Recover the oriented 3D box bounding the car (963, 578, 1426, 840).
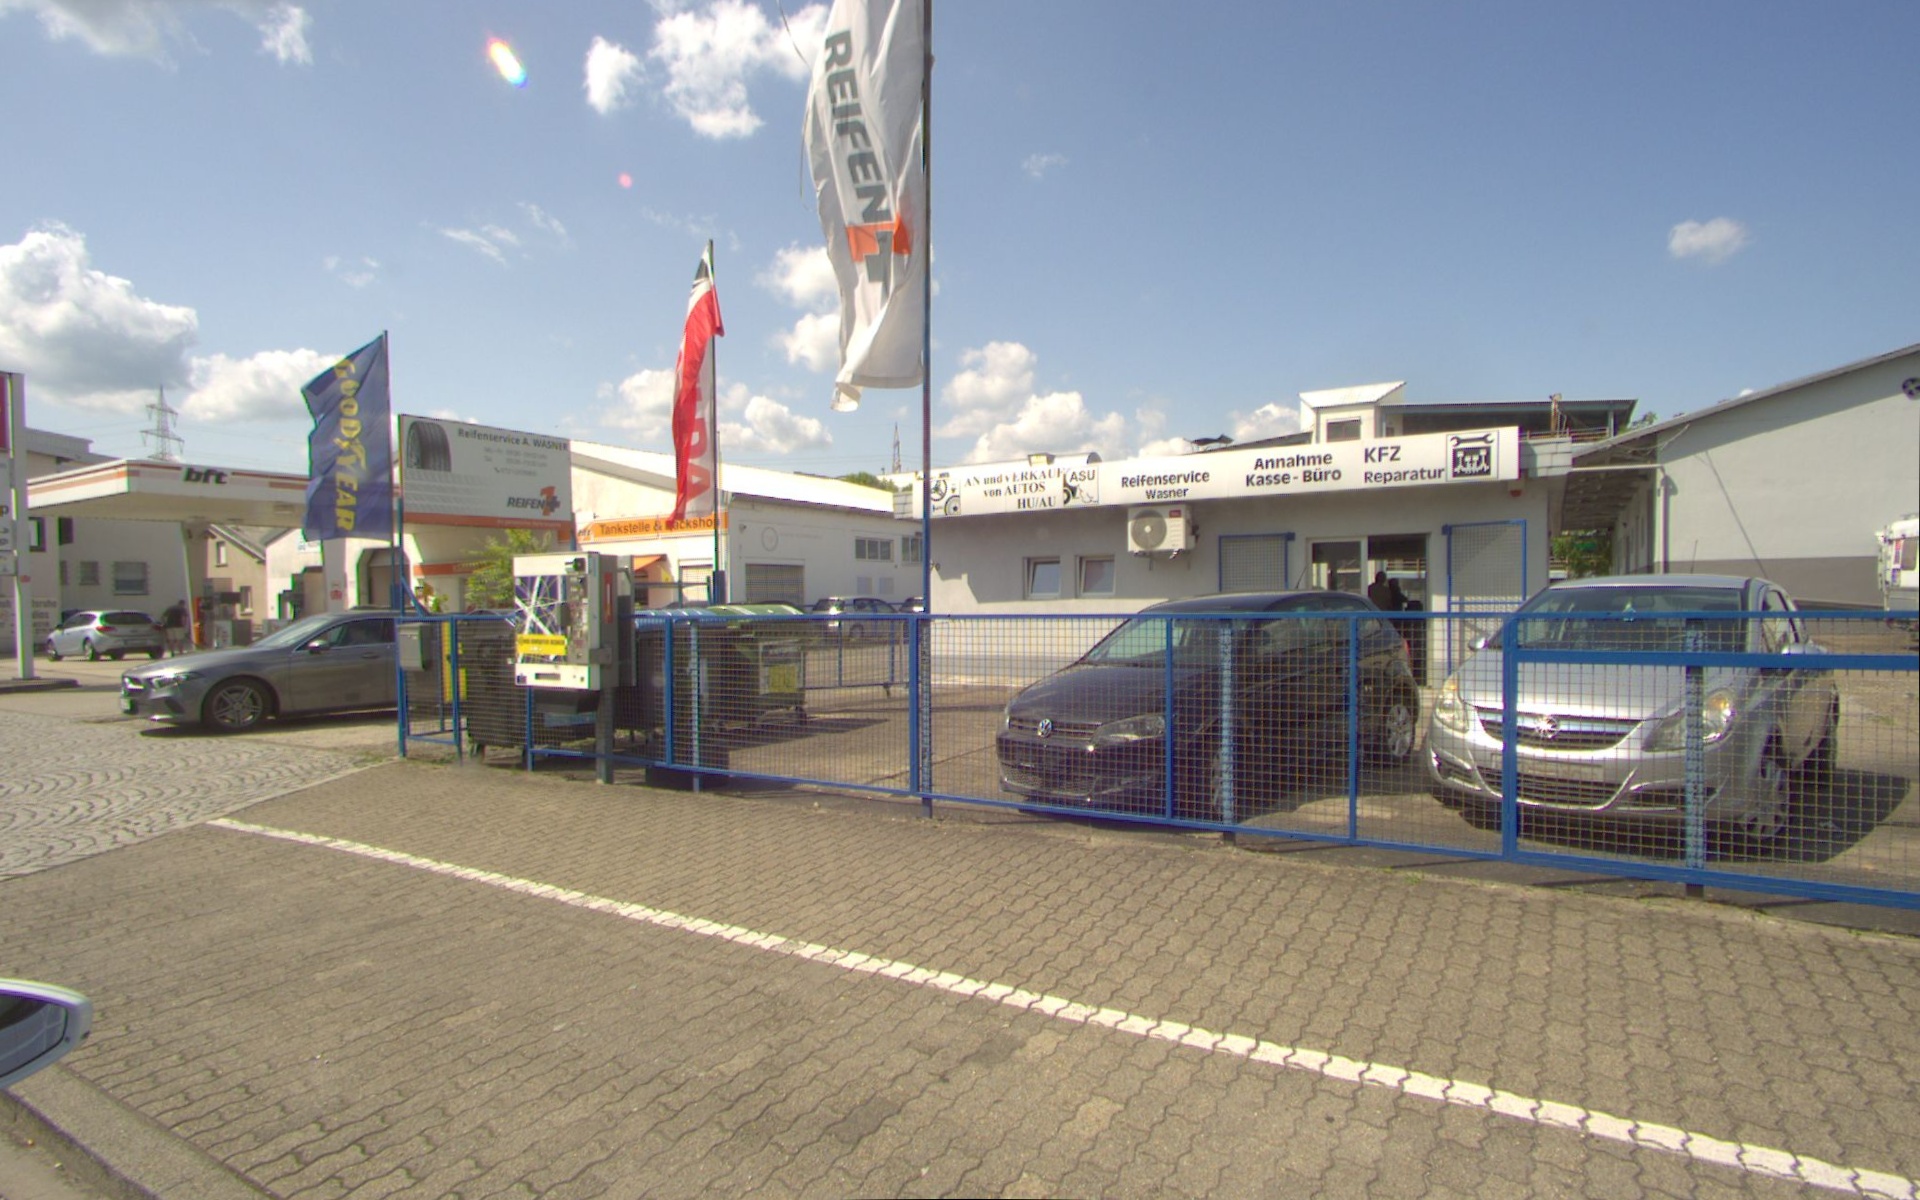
[{"bbox_3d":[1.903,0.604,7.485,3.655,1.472,1.625,-1,1,-43],"label":"car"}]

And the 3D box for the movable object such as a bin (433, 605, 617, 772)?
[{"bbox_3d":[-4.157,0.788,9.612,1.225,1.455,1.106,0,1,31],"label":"movable object such as a bin"}]

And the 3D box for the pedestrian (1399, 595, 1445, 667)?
[{"bbox_3d":[8.049,0.534,17.443,0.654,1.225,0.563,0,1,34],"label":"pedestrian"}]

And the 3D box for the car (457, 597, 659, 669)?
[{"bbox_3d":[-9.162,0.689,23.168,1.564,1.482,4.187,0,0,33],"label":"car"}]

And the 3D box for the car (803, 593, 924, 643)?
[{"bbox_3d":[-3.013,0.526,32.055,1.564,1.482,4.187,0,0,33],"label":"car"}]

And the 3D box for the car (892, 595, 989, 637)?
[{"bbox_3d":[-0.637,0.533,35.740,1.564,1.385,3.860,0,0,33],"label":"car"}]

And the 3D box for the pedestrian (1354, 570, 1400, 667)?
[{"bbox_3d":[7.355,0.320,17.650,0.654,1.671,0.563,0,1,34],"label":"pedestrian"}]

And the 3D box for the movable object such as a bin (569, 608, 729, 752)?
[{"bbox_3d":[-3.324,0.805,10.742,1.225,1.415,1.106,0,1,31],"label":"movable object such as a bin"}]

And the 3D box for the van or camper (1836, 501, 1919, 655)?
[{"bbox_3d":[21.017,-0.453,19.534,5.571,3.005,2.264,0,1,31],"label":"van or camper"}]

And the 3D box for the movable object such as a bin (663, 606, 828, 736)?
[{"bbox_3d":[-2.531,0.784,11.907,1.318,1.415,1.400,0,1,31],"label":"movable object such as a bin"}]

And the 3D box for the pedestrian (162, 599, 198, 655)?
[{"bbox_3d":[-23.774,0.801,30.520,0.698,1.679,0.546,-1,1,-22],"label":"pedestrian"}]

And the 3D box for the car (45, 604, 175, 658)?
[{"bbox_3d":[-25.734,0.901,30.310,3.776,1.523,1.803,0,0,30],"label":"car"}]

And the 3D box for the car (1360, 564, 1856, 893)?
[{"bbox_3d":[4.275,0.563,6.385,3.729,1.472,1.757,-1,0,-42],"label":"car"}]

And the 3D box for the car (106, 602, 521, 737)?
[{"bbox_3d":[-8.221,0.769,13.088,1.654,1.434,4.253,0,0,39],"label":"car"}]

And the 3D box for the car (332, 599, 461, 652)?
[{"bbox_3d":[-17.307,0.747,30.728,3.777,1.523,1.803,0,0,31],"label":"car"}]

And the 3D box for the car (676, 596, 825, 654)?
[{"bbox_3d":[-5.715,0.642,27.823,1.564,1.482,4.187,0,0,33],"label":"car"}]
